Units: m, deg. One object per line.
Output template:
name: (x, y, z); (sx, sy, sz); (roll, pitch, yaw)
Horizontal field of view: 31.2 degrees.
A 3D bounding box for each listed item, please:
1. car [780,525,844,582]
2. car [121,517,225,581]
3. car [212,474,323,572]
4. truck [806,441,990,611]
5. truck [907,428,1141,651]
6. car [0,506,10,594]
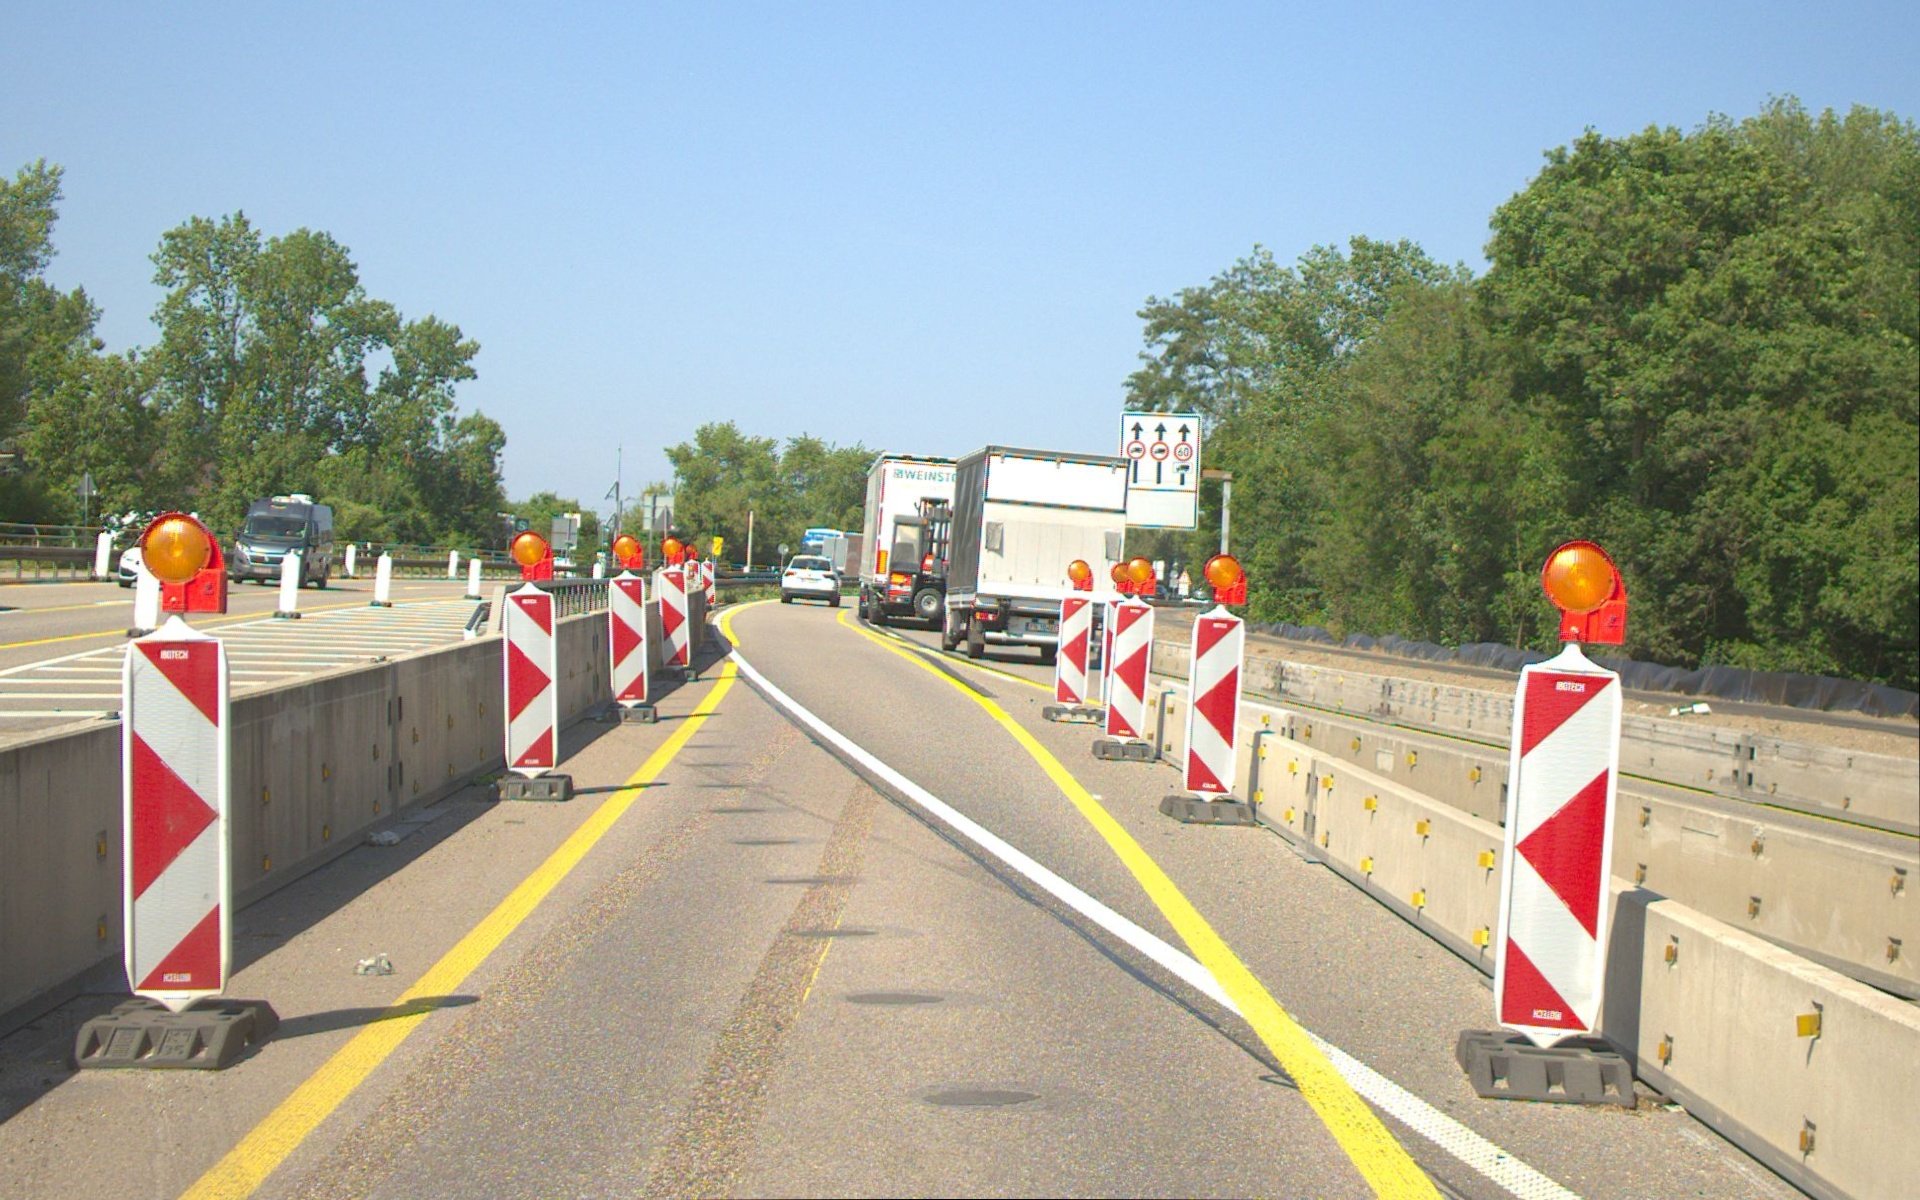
car: (-4.871, -1.531, 112.591); (1.816, 1.770, 4.001); (2, 1, -6)
car: (-18.766, -1.221, 82.129); (1.718, 1.392, 4.521); (4, 1, -5)
car: (-19.991, -2.215, 99.413); (2.146, 2.651, 5.547); (3, 1, -2)
truck: (-1.564, -1.748, 81.940); (3.387, 3.761, 7.235); (2, 1, -8)
truck: (0.955, -1.037, 57.268); (2.633, 3.415, 7.235); (2, 1, -8)
car: (-16.803, -0.836, 56.090); (1.737, 1.471, 4.646); (2, 1, -6)
